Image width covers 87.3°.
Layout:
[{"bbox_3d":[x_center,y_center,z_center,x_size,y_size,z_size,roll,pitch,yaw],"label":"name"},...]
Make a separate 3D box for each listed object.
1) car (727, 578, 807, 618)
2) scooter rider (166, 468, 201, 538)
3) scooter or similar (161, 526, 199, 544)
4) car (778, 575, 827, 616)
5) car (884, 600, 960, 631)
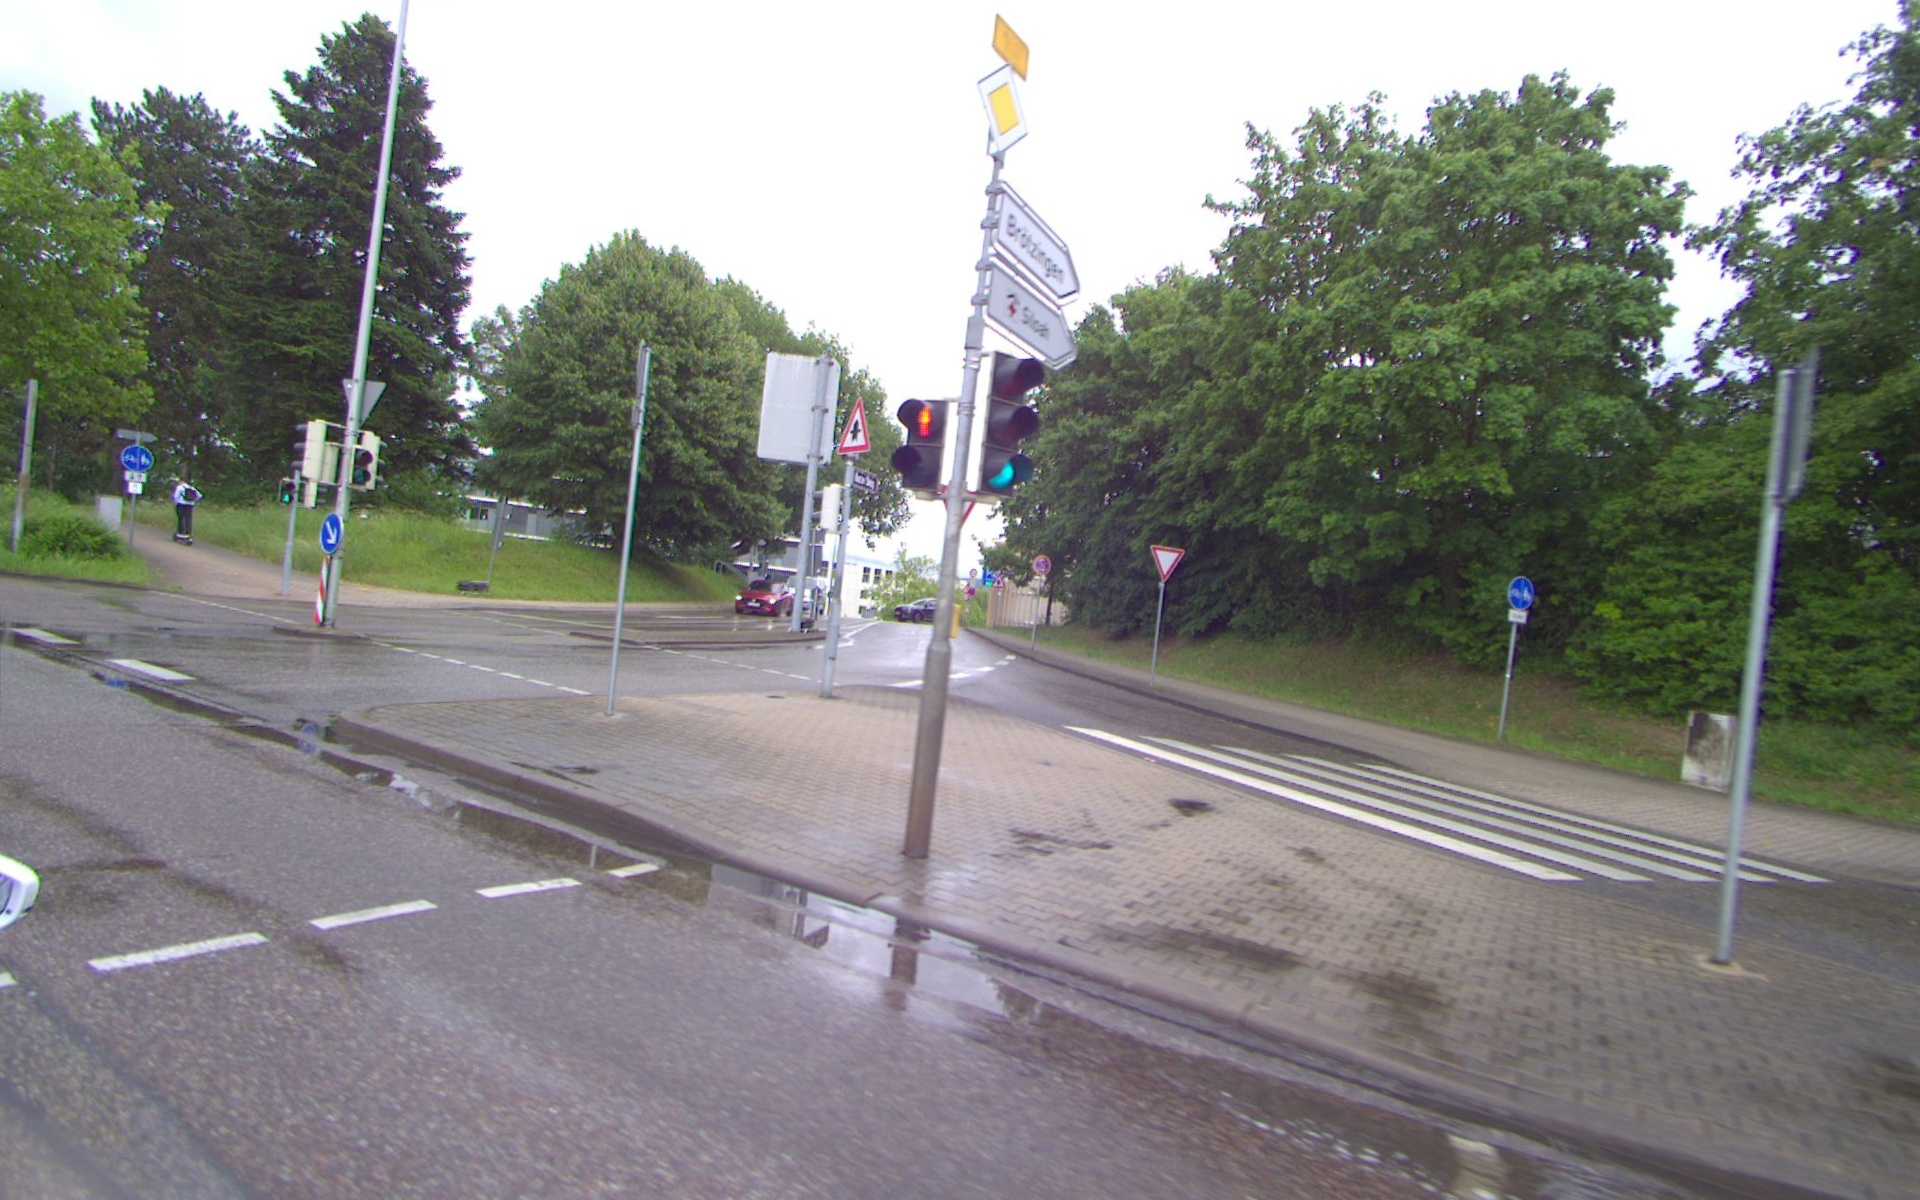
[{"bbox_3d":[-8.007,-0.048,42.061,1.817,1.447,4.000,5,1,11],"label":"car"},{"bbox_3d":[-23.291,-2.899,30.180,0.538,1.990,0.501,8,1,31],"label":"scooter rider"},{"bbox_3d":[-23.421,-1.954,30.209,1.235,0.408,0.487,7,0,31],"label":"scooter or similar"},{"bbox_3d":[-8.248,-0.241,52.954,1.818,1.883,3.998,5,1,0],"label":"car"},{"bbox_3d":[-2.234,0.929,58.872,3.952,1.447,1.839,5,1,-29],"label":"car"}]
